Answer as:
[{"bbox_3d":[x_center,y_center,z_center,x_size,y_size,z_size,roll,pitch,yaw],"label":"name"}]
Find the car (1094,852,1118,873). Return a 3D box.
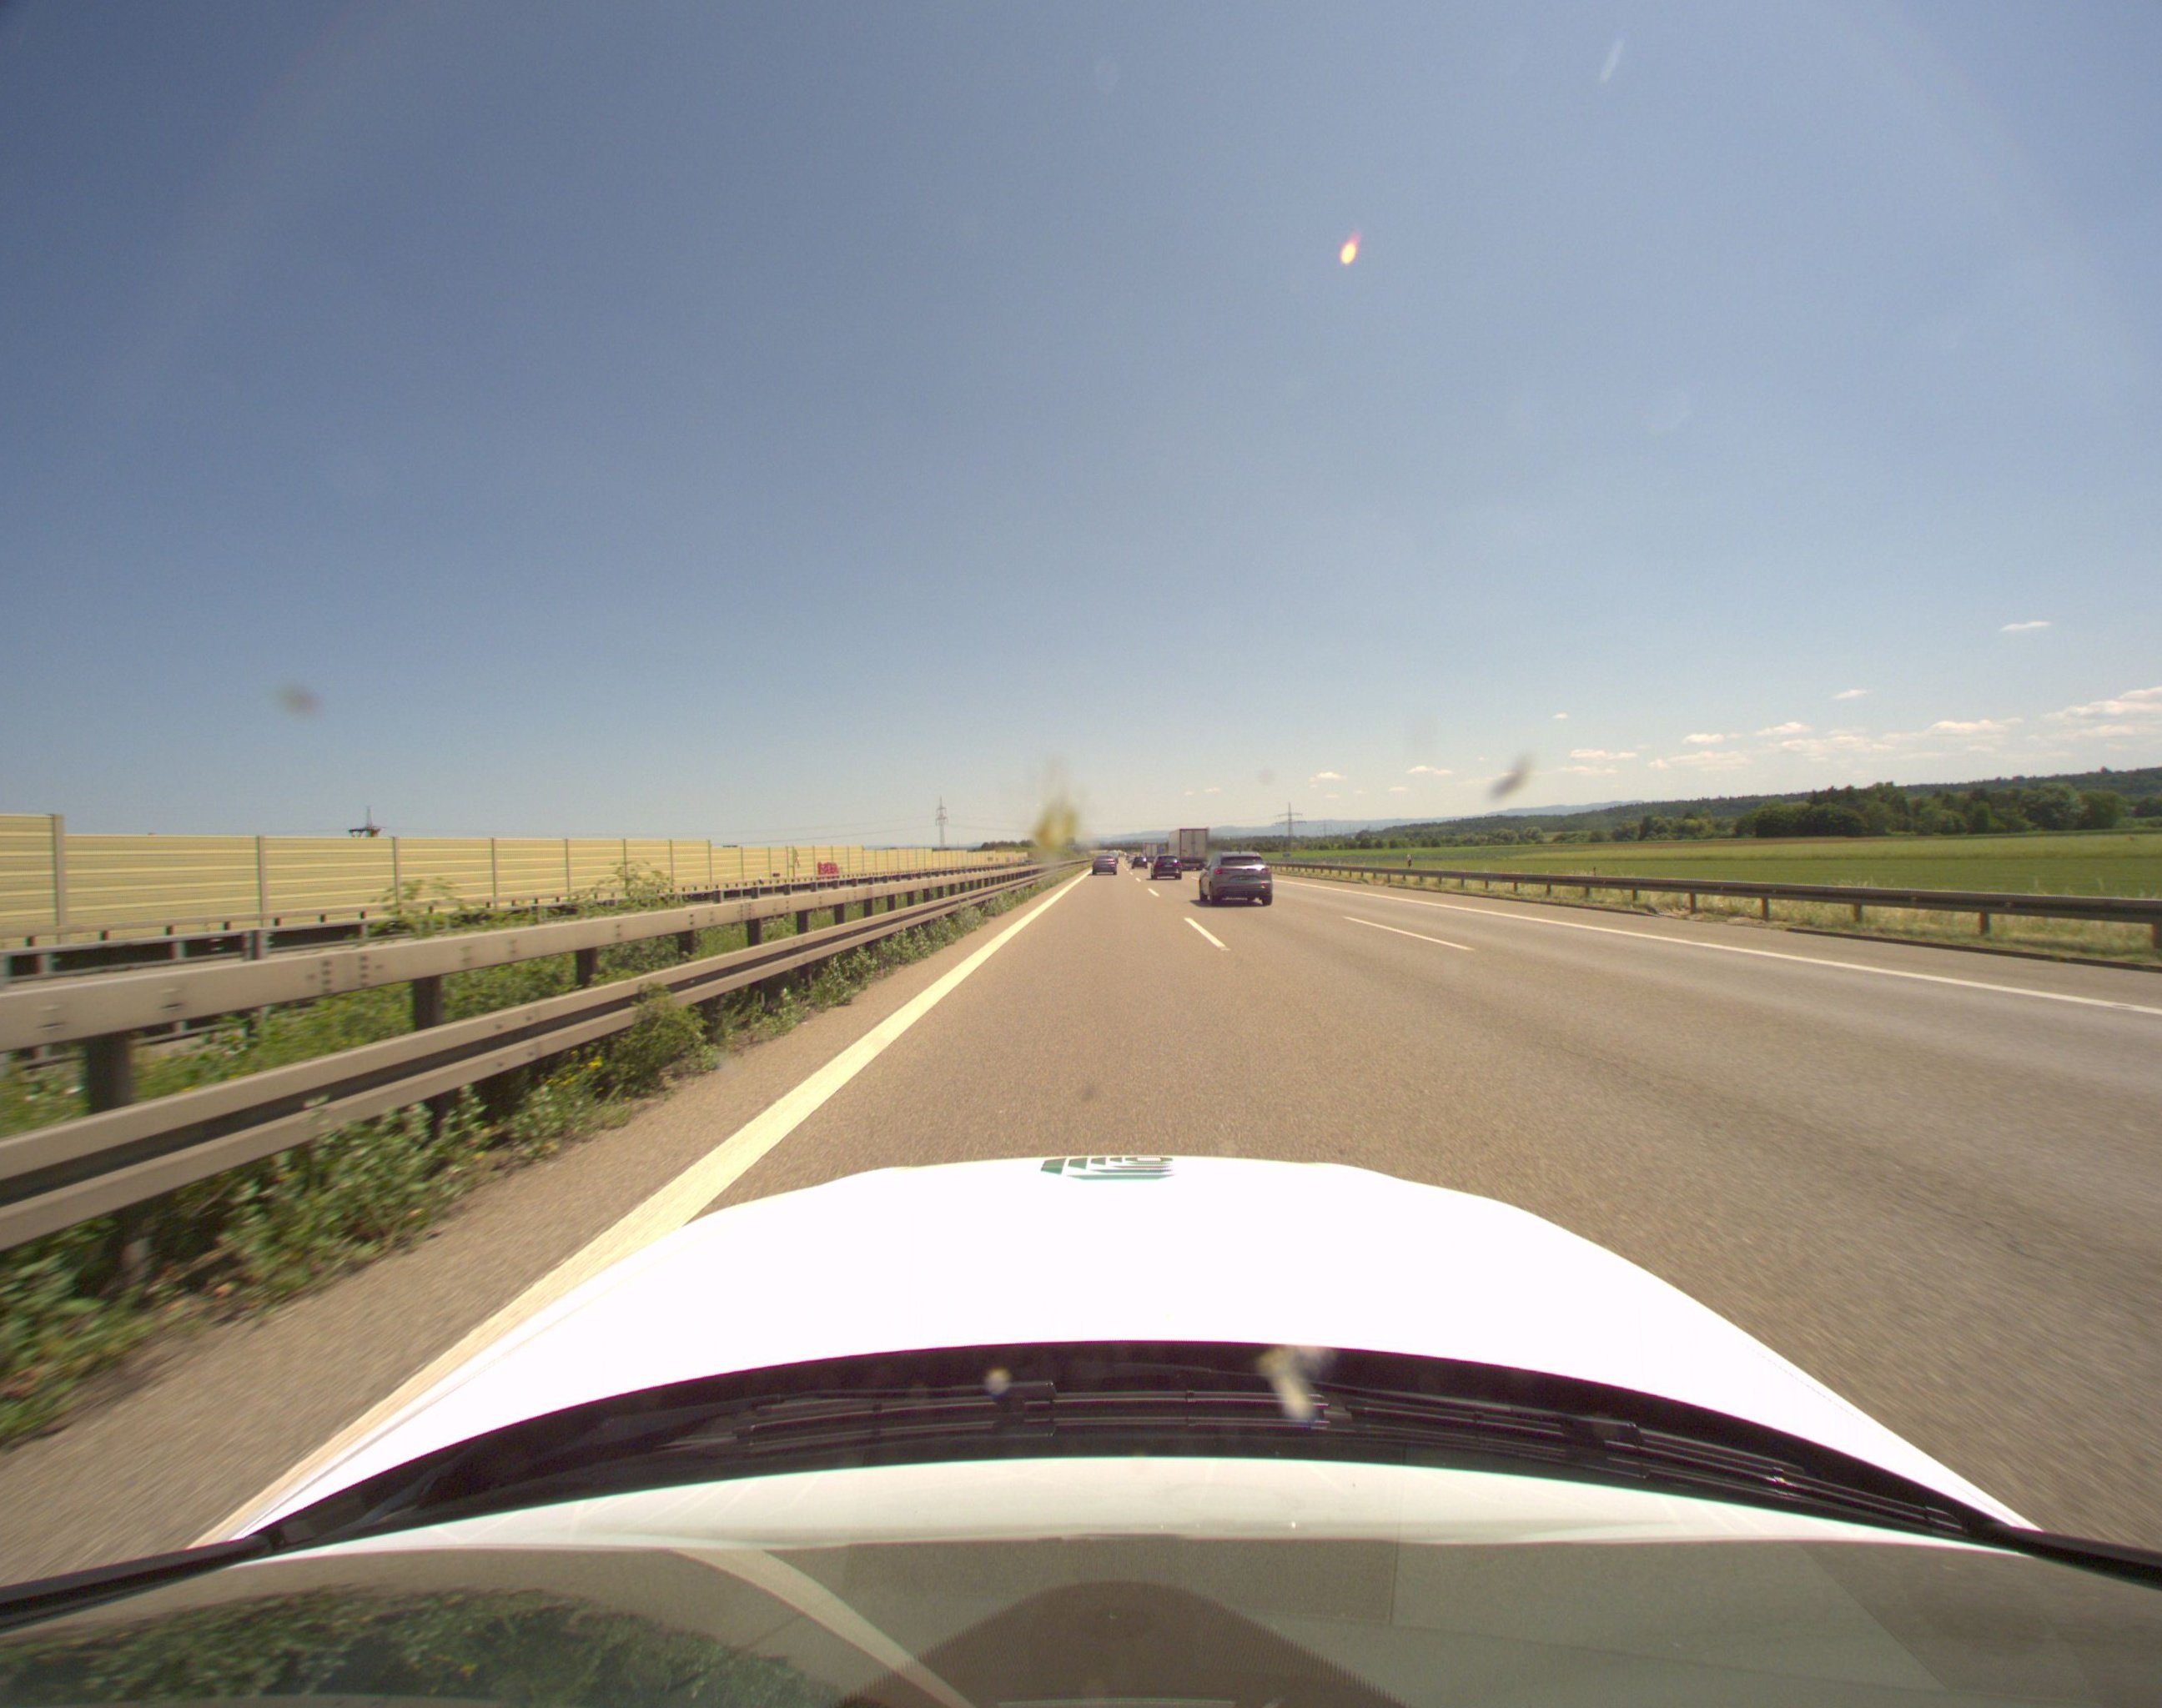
[{"bbox_3d":[1.981,0.705,65.922,1.845,1.664,3.735,0,-1,0],"label":"car"}]

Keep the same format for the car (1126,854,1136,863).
[{"bbox_3d":[9.749,0.877,158.936,1.985,1.683,4.004,0,-1,3],"label":"car"}]

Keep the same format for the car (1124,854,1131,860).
[{"bbox_3d":[13.712,0.911,239.434,1.985,1.683,4.004,0,-1,3],"label":"car"}]

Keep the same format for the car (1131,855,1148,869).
[{"bbox_3d":[6.693,0.889,93.818,1.925,1.574,4.938,0,-1,3],"label":"car"}]

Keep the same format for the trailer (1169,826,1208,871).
[{"bbox_3d":[10.725,-0.449,82.364,2.856,4.220,13.303,0,-1,3],"label":"trailer"}]

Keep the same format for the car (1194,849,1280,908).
[{"bbox_3d":[4.752,0.721,25.467,1.845,1.648,4.644,0,-1,0],"label":"car"}]

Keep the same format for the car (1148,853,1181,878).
[{"bbox_3d":[5.294,0.733,52.071,1.791,1.562,3.823,0,-1,0],"label":"car"}]

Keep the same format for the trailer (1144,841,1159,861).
[{"bbox_3d":[15.157,-0.505,176.279,2.930,4.198,13.608,0,-1,4],"label":"trailer"}]

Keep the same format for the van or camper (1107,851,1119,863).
[{"bbox_3d":[6.086,0.575,153.402,2.101,2.211,5.270,0,-1,3],"label":"van or camper"}]
